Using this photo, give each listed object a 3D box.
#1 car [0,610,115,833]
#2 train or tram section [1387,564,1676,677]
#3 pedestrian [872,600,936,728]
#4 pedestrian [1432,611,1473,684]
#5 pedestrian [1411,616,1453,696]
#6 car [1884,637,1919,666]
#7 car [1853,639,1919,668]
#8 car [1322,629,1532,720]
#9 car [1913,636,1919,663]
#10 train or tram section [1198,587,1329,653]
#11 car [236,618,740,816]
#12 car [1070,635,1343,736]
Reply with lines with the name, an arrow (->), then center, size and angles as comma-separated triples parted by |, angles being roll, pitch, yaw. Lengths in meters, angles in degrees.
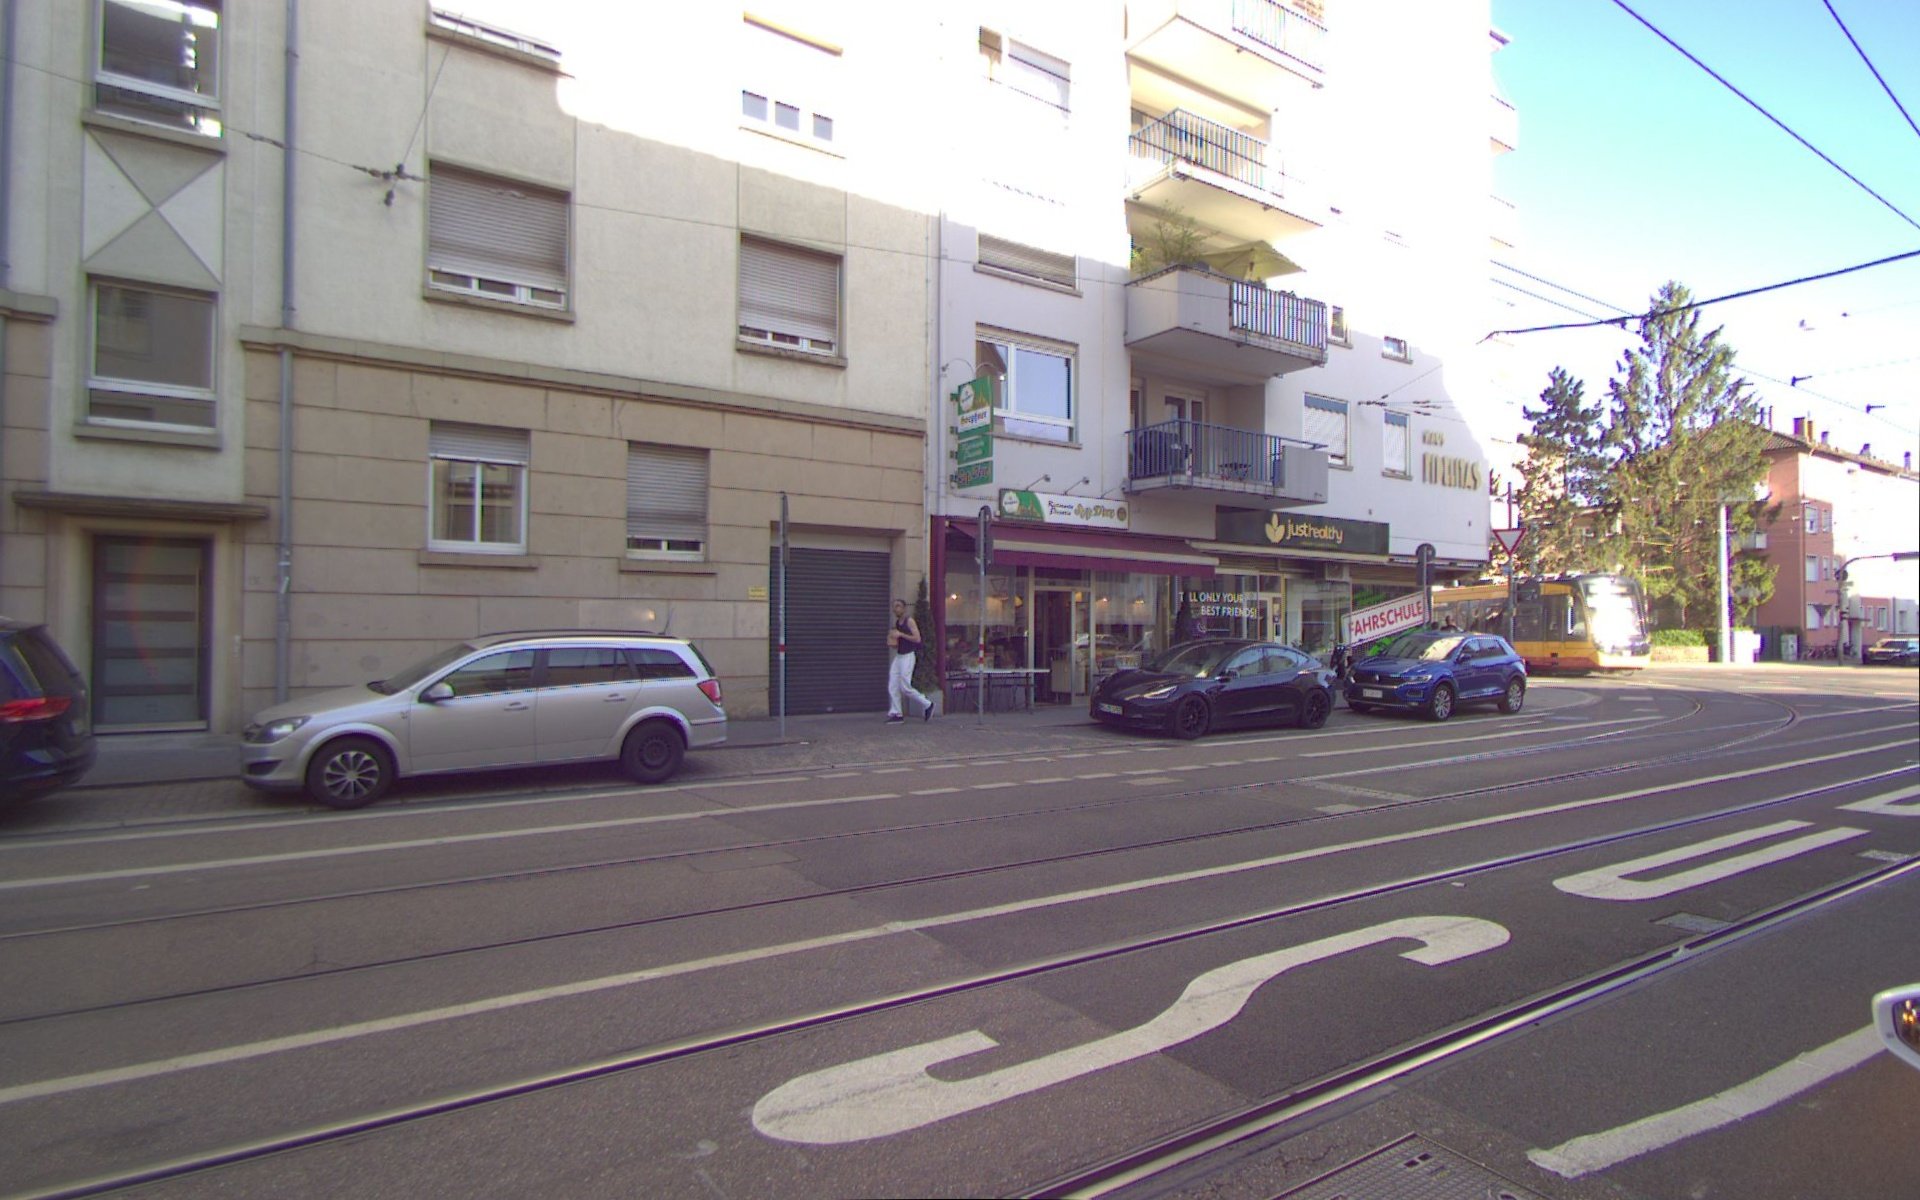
car -> -9.018, 0.864, 7.245 | 4.249, 1.606, 1.893 | 2, 0, -35
train or tram section -> 21.172, 0.845, 38.757 | 3.014, 3.641, 12.622 | 0, -2, -5
pedestrian -> -0.842, 0.938, 15.080 | 0.725, 1.857, 0.595 | 2, 0, -30
pedestrian -> 14.035, 1.343, 28.645 | 0.688, 2.040, 0.764 | 2, 0, -35
pedestrian -> 11.046, 1.307, 23.511 | 0.691, 1.829, 0.568 | 2, 0, -30
car -> 53.956, 2.907, 56.430 | 4.250, 1.518, 1.806 | 2, 0, -30
car -> 49.602, 2.831, 53.602 | 3.949, 1.440, 1.784 | 2, 0, -31
car -> 8.924, 1.336, 19.115 | 4.030, 1.552, 1.858 | 1, -2, -34
car -> 58.289, 2.964, 59.395 | 4.103, 1.531, 1.778 | 2, 0, -31
train or tram section -> 19.125, 1.156, 64.750 | 2.702, 3.680, 14.251 | 2, 0, -6
car -> -4.695, 1.038, 10.322 | 4.319, 1.580, 1.981 | 2, 0, -34
car -> 4.010, 1.276, 16.099 | 4.382, 1.405, 1.810 | 1, -2, -34
